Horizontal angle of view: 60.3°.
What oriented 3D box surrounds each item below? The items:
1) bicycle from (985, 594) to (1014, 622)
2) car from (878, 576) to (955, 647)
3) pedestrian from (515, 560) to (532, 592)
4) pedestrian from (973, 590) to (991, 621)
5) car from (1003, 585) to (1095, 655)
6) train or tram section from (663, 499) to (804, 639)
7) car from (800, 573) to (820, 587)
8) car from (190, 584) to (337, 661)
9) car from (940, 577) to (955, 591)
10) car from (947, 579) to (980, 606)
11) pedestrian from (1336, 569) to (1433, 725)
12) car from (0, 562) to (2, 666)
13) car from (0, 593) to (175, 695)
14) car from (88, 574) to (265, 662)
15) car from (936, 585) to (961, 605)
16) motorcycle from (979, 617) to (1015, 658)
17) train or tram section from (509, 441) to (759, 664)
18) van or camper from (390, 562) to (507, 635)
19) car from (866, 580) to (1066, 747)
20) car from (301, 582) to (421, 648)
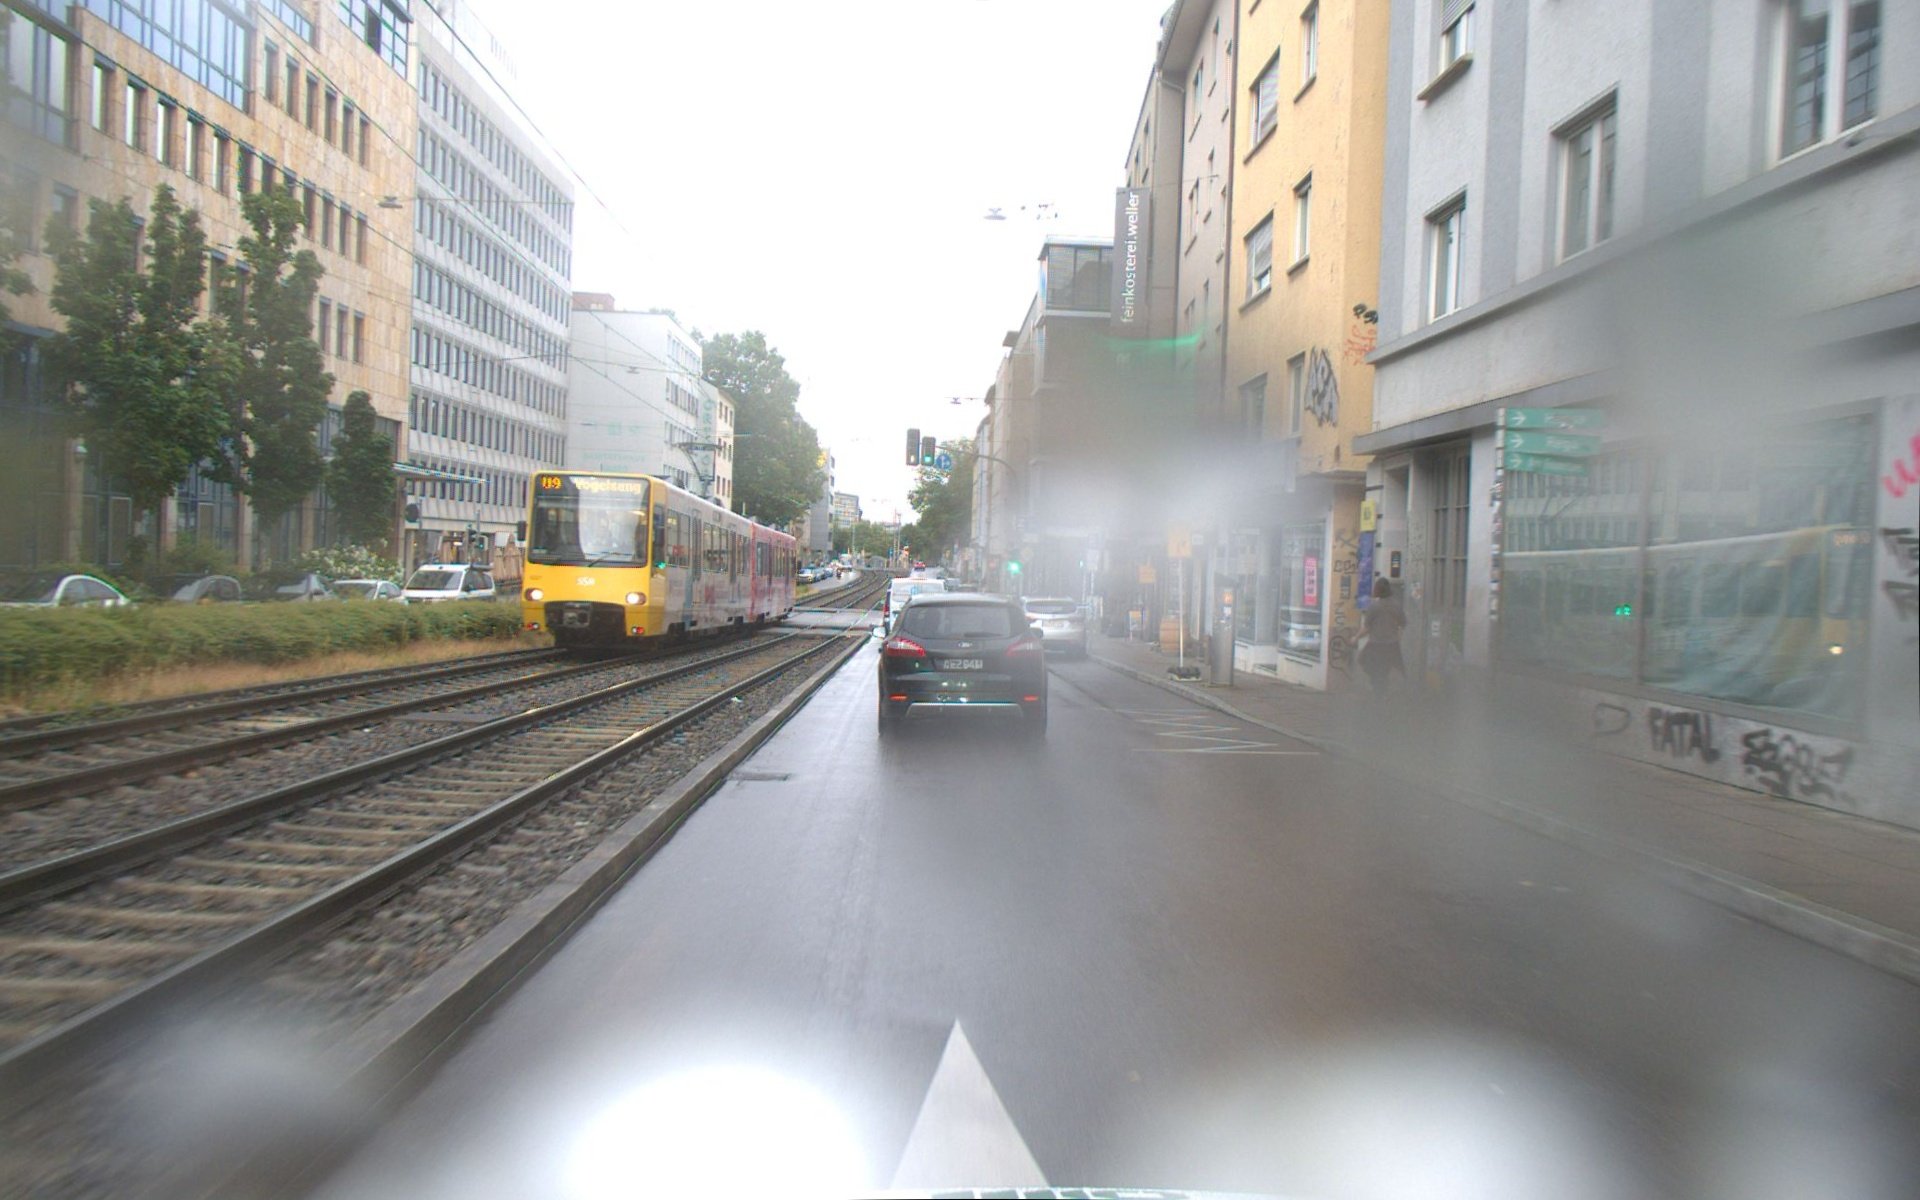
[{"bbox_3d":[1.876,0.392,79.121,0.491,1.280,1.941,2,0,-26],"label":"bicycle"},{"bbox_3d":[-1.151,0.291,45.718,1.953,1.848,4.271,1,0,0],"label":"car"},{"bbox_3d":[-24.622,-1.349,93.239,0.725,1.767,0.889,1,0,-5],"label":"pedestrian"},{"bbox_3d":[1.136,0.287,85.394,0.650,1.610,0.774,1,0,-23],"label":"pedestrian"},{"bbox_3d":[2.174,0.475,41.574,1.983,1.621,4.620,1,0,-1],"label":"car"},{"bbox_3d":[-7.664,-0.899,58.815,2.843,4.121,18.762,1,0,-1],"label":"train or tram section"},{"bbox_3d":[-17.189,-2.329,189.204,1.953,1.545,4.434,2,1,-2],"label":"car"},{"bbox_3d":[-15.498,0.465,37.031,1.655,1.512,4.293,2,1,-3],"label":"car"},{"bbox_3d":[-1.484,-1.970,198.391,1.704,1.514,3.999,2,2,-2],"label":"car"},{"bbox_3d":[0.209,-0.463,103.699,1.953,1.621,4.270,1,0,-1],"label":"car"},{"bbox_3d":[4.842,0.527,18.901,0.775,1.687,0.721,-5,0,-2],"label":"pedestrian"},{"bbox_3d":[-14.846,0.198,22.107,1.616,1.524,4.292,1,0,-1],"label":"car"},{"bbox_3d":[-14.820,0.672,27.446,1.616,1.524,4.192,1,0,-1],"label":"car"},{"bbox_3d":[-15.138,0.295,32.178,1.655,1.512,3.998,2,1,-3],"label":"car"},{"bbox_3d":[-0.951,-0.418,135.181,1.953,1.621,4.571,1,0,-1],"label":"car"},{"bbox_3d":[1.354,1.376,60.790,1.121,1.486,0.675,1,0,-38],"label":"motorcycle"},{"bbox_3d":[-7.215,-0.867,40.181,2.843,4.121,18.406,1,0,-1],"label":"train or tram section"},{"bbox_3d":[-15.453,-0.037,50.287,1.976,2.032,5.196,2,0,-1],"label":"van or camper"},{"bbox_3d":[0.023,0.622,18.546,1.953,1.621,4.270,1,0,-1],"label":"car"},{"bbox_3d":[-15.277,0.342,42.385,1.655,1.512,4.254,2,1,-3],"label":"car"}]
